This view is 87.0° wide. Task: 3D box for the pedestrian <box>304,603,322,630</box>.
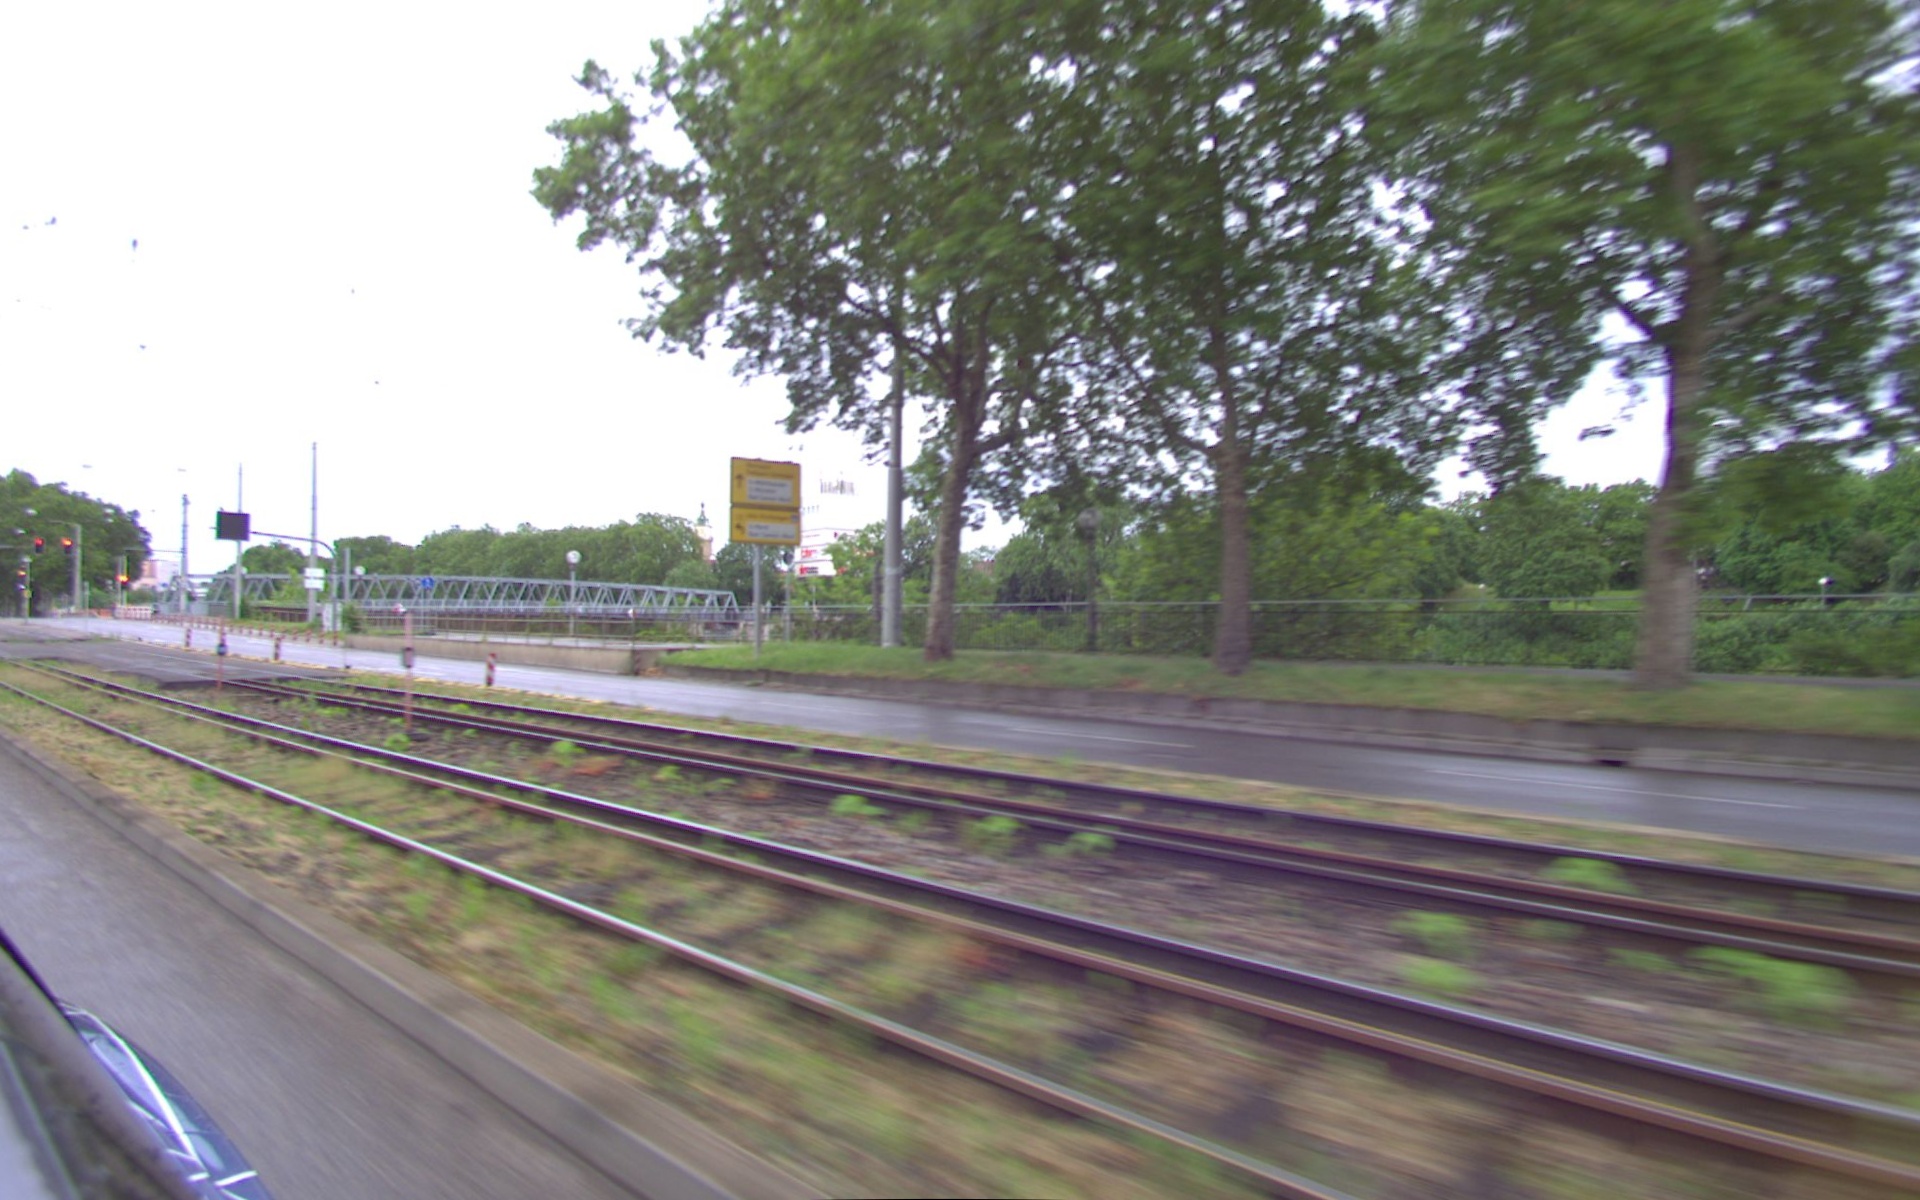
[{"bbox_3d":[-40.799,1.037,63.801,0.618,1.700,0.757,0,-2,40],"label":"pedestrian"}]
